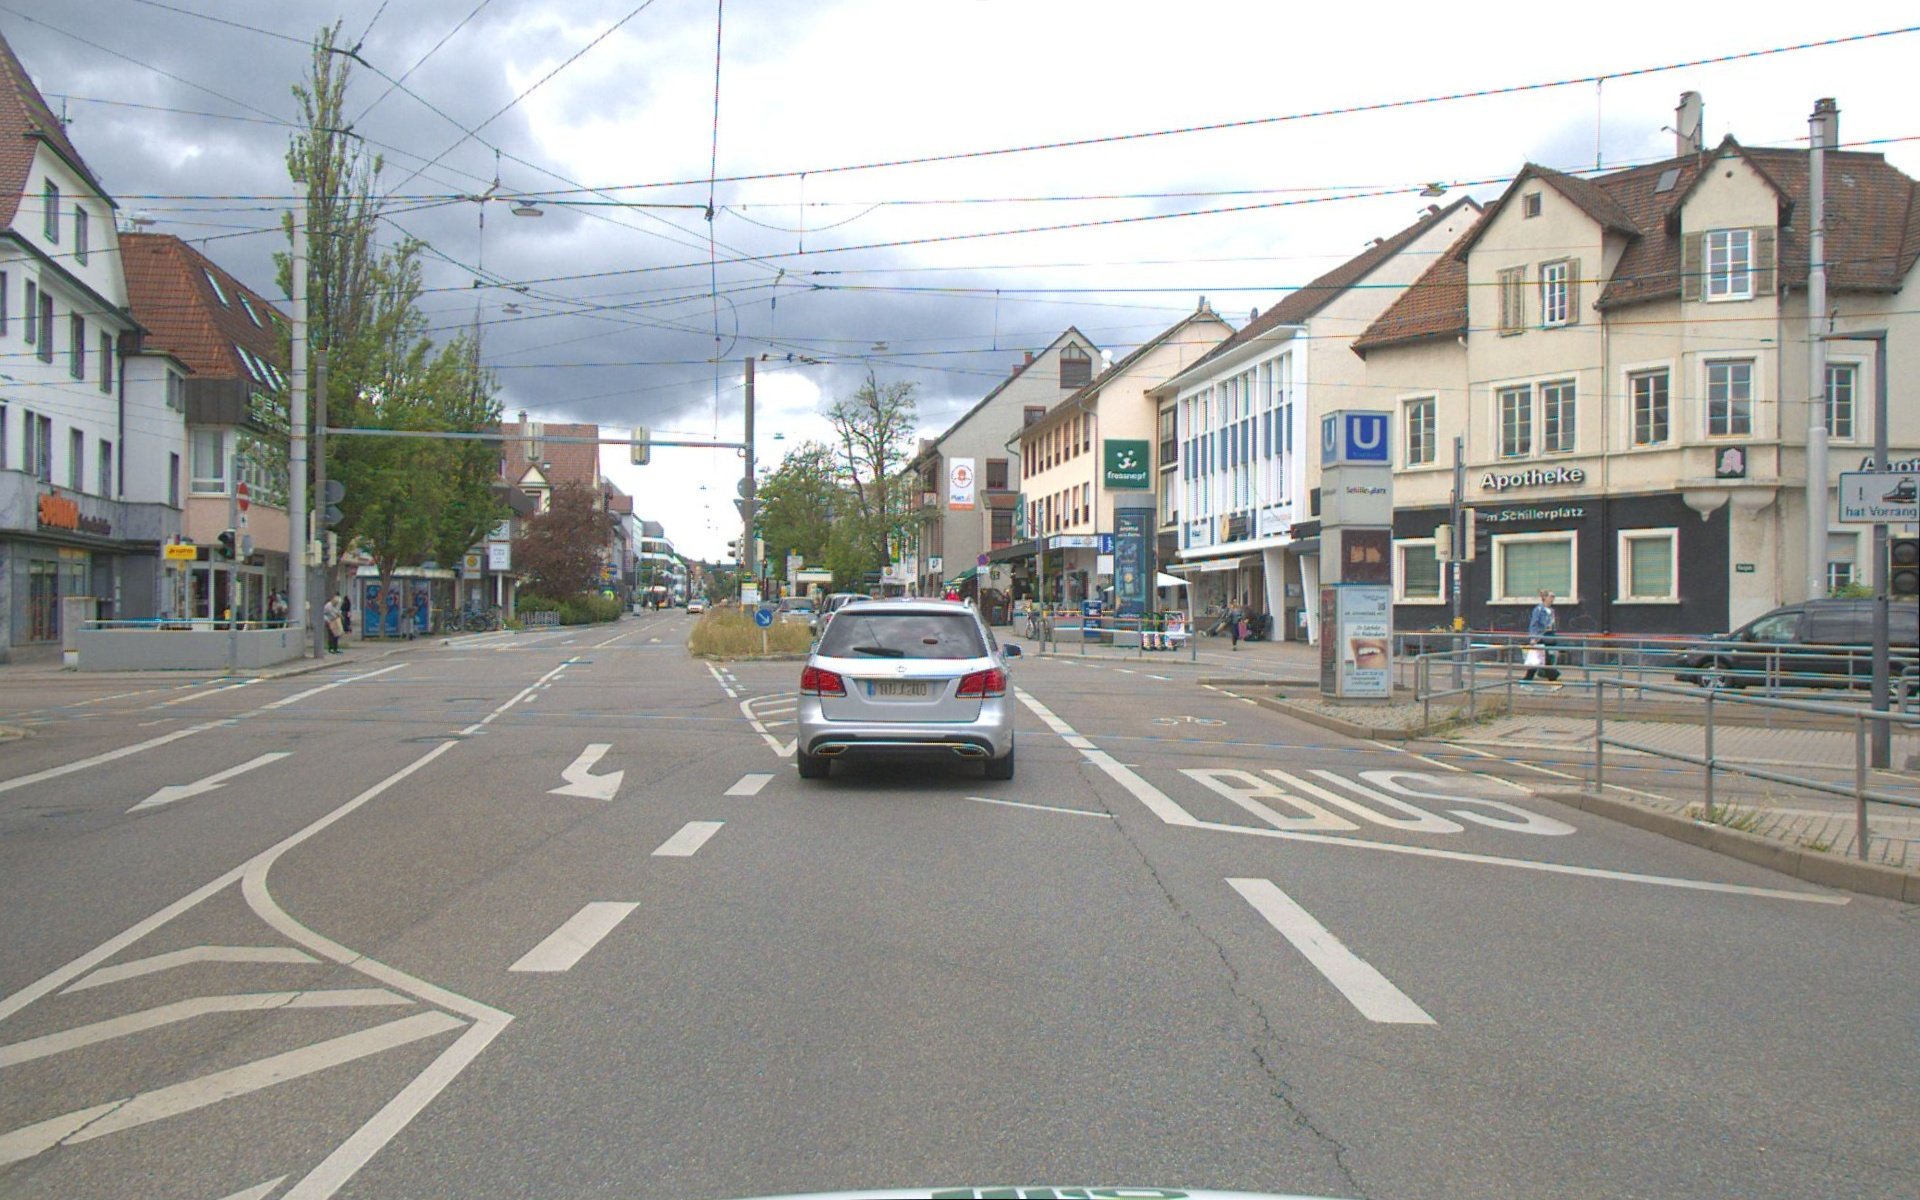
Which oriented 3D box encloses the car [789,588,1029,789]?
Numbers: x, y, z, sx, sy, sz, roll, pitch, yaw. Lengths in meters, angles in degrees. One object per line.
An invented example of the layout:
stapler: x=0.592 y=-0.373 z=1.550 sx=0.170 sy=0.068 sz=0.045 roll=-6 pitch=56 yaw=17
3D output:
car: x=-0.305 y=0.680 z=14.741 sx=1.807 sy=1.534 sz=4.172 roll=0 pitch=0 yaw=3

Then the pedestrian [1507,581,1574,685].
pedestrian: x=9.900 y=0.553 z=28.217 sx=0.826 sy=1.748 sz=0.725 roll=0 pitch=0 yaw=-12

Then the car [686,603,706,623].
car: x=-27.715 y=1.317 z=173.659 sx=1.957 sy=2.049 sz=3.990 roll=1 pitch=0 yaw=-10

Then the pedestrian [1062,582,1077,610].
pedestrian: x=4.929 y=-0.173 z=74.601 sx=0.523 sy=1.240 sz=0.578 roll=1 pitch=-1 yaw=-11

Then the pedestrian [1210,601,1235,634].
pedestrian: x=9.635 y=0.644 z=60.730 sx=0.723 sy=1.184 sz=0.641 roll=1 pitch=-1 yaw=-11

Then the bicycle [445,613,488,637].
bicycle: x=-23.098 y=1.169 z=77.469 sx=1.908 sy=1.047 sz=0.527 roll=1 pitch=-1 yaw=-19

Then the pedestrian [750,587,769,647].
pedestrian: x=-6.051 y=0.512 z=49.950 sx=0.523 sy=1.794 sz=0.578 roll=0 pitch=0 yaw=-11

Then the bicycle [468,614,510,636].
bicycle: x=-22.602 y=1.192 z=79.323 sx=1.908 sy=1.047 sz=0.527 roll=1 pitch=-1 yaw=-19

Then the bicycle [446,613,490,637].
bicycle: x=-22.886 y=1.169 z=76.903 sx=1.908 sy=1.047 sz=0.527 roll=1 pitch=-1 yaw=-19

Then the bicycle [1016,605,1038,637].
bicycle: x=2.365 y=0.750 z=58.593 sx=0.439 sy=1.110 sz=2.145 roll=0 pitch=0 yaw=-8

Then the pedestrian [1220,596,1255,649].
pedestrian: x=8.607 y=0.693 z=51.363 sx=0.633 sy=1.619 sz=0.889 roll=1 pitch=-1 yaw=-29

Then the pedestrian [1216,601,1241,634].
pedestrian: x=9.762 y=0.648 z=60.086 sx=0.723 sy=1.184 sz=0.641 roll=1 pitch=-1 yaw=-11

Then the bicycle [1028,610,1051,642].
bicycle: x=2.801 y=0.910 z=58.659 sx=0.439 sy=1.127 sz=2.145 roll=0 pitch=0 yaw=-8

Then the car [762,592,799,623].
car: x=-10.421 y=0.432 z=95.774 sx=1.957 sy=1.780 sz=3.992 roll=1 pitch=0 yaw=-9

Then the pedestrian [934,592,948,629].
pedestrian: x=-0.880 y=0.483 z=75.780 sx=0.566 sy=1.695 sz=0.651 roll=1 pitch=-1 yaw=-3

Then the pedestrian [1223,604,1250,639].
pedestrian: x=9.554 y=0.734 z=57.232 sx=0.723 sy=1.184 sz=0.641 roll=1 pitch=-1 yaw=-11

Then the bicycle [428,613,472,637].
bicycle: x=-23.260 y=1.151 z=75.434 sx=1.908 sy=1.047 sz=0.527 roll=1 pitch=-1 yaw=-19

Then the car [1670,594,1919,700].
car: x=16.164 y=0.864 z=31.446 sx=4.602 sy=1.853 sz=1.857 roll=1 pitch=-1 yaw=36

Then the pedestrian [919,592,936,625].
pedestrian: x=-1.445 y=0.365 z=73.045 sx=0.568 sy=1.460 sz=0.648 roll=1 pitch=-1 yaw=-15

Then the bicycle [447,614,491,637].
bicycle: x=-22.657 y=1.169 z=76.272 sx=1.908 sy=1.047 sz=0.527 roll=1 pitch=-1 yaw=-19

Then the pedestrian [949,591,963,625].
pedestrian: x=-0.172 y=0.347 z=72.253 sx=0.566 sy=1.495 sz=0.651 roll=1 pitch=-1 yaw=-2

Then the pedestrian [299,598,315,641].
pedestrian: x=-25.050 y=0.759 z=63.464 sx=0.569 sy=1.634 sz=0.640 roll=0 pitch=0 yaw=-21

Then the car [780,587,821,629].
car: x=-6.994 y=0.343 z=72.254 sx=1.701 sy=1.790 sz=3.993 roll=0 pitch=0 yaw=-7

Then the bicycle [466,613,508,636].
bicycle: x=-22.942 y=1.192 z=80.253 sx=1.908 sy=1.047 sz=0.527 roll=1 pitch=-1 yaw=-19

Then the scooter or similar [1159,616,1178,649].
scooter or similar: x=6.549 y=1.015 z=51.979 sx=0.266 sy=1.019 sz=1.026 roll=0 pitch=0 yaw=-12

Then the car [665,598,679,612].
car: x=-42.644 y=0.785 z=245.104 sx=1.958 sy=2.049 sz=3.989 roll=1 pitch=0 yaw=-11

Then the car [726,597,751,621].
car: x=-19.286 y=0.758 z=143.651 sx=1.957 sy=2.049 sz=3.990 roll=1 pitch=0 yaw=-10

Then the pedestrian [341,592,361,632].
pedestrian: x=-25.172 y=0.490 z=68.373 sx=0.695 sy=1.634 sz=0.574 roll=0 pitch=0 yaw=-29

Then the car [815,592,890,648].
car: x=-3.149 y=0.547 z=47.854 sx=1.703 sy=1.534 sz=3.990 roll=0 pitch=0 yaw=-11

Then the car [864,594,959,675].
car: x=-0.931 y=0.661 z=33.777 sx=1.698 sy=1.534 sz=4.001 roll=1 pitch=0 yaw=1

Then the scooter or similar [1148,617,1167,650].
scooter or similar: x=6.200 y=1.049 z=51.894 sx=0.266 sy=1.019 sz=1.026 roll=0 pitch=0 yaw=-12

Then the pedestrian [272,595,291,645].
pedestrian: x=-25.496 y=0.741 z=62.165 sx=0.633 sy=1.868 sz=0.576 roll=0 pitch=0 yaw=-23

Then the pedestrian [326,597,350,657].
pedestrian: x=-17.317 y=0.749 z=46.052 sx=0.625 sy=1.634 sz=0.700 roll=0 pitch=0 yaw=-21
